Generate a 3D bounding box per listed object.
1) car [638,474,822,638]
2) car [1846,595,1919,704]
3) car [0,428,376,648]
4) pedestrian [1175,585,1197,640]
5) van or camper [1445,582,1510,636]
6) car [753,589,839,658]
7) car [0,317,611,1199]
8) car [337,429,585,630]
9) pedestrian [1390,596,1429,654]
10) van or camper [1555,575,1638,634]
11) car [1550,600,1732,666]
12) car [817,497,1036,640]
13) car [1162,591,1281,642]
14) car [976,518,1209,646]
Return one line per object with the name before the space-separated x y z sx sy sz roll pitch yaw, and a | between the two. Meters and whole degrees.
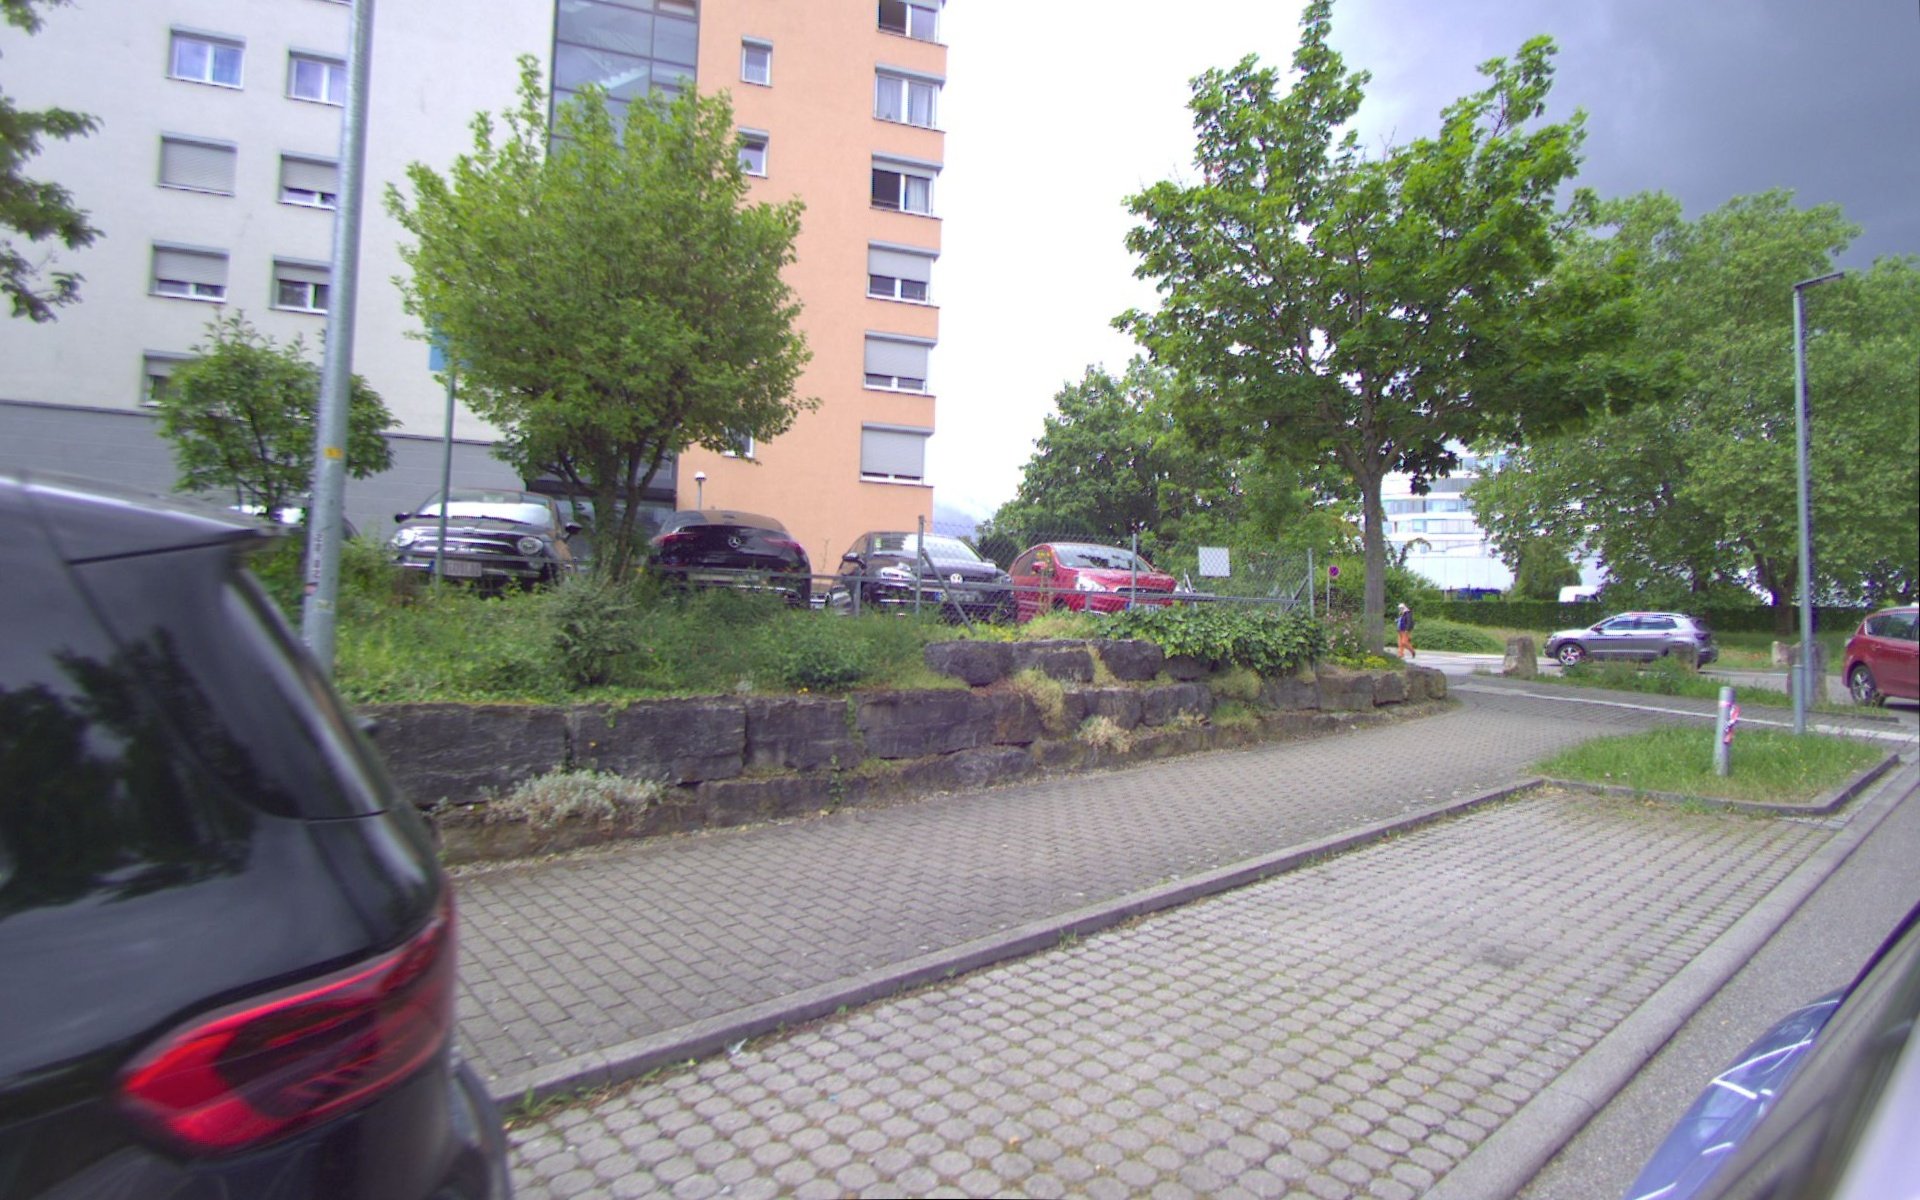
car | -2.750 -0.345 11.518 1.649 1.517 3.668 1 -3 -19
car | 15.574 0.759 14.965 1.953 1.666 4.512 0 -1 16
car | -7.415 -0.379 10.210 1.903 1.690 4.565 1 -3 -21
pedestrian | 7.538 0.421 33.775 0.474 1.836 0.584 1 -3 -16
van or camper | 28.741 0.544 56.347 2.082 2.835 4.461 0 -3 12
car | -3.905 0.505 23.636 1.657 1.477 3.847 1 0 -14
car | -2.586 0.591 0.342 4.296 1.700 1.815 1 -1 -43
car | -5.022 -0.530 10.691 1.903 1.635 4.006 1 -3 -21
pedestrian | 13.694 0.748 30.861 0.602 1.685 0.842 1 2 -24
van or camper | 32.490 0.282 51.807 2.082 2.835 4.461 0 -3 12
car | 18.790 0.852 28.016 3.995 1.638 1.696 1 0 43
car | -0.575 -0.247 12.379 1.649 1.440 3.806 1 -3 -19
car | 9.021 0.567 34.967 3.697 1.680 1.576 1 0 -17
car | 1.602 -0.123 13.569 1.649 1.458 3.668 1 -3 -19
